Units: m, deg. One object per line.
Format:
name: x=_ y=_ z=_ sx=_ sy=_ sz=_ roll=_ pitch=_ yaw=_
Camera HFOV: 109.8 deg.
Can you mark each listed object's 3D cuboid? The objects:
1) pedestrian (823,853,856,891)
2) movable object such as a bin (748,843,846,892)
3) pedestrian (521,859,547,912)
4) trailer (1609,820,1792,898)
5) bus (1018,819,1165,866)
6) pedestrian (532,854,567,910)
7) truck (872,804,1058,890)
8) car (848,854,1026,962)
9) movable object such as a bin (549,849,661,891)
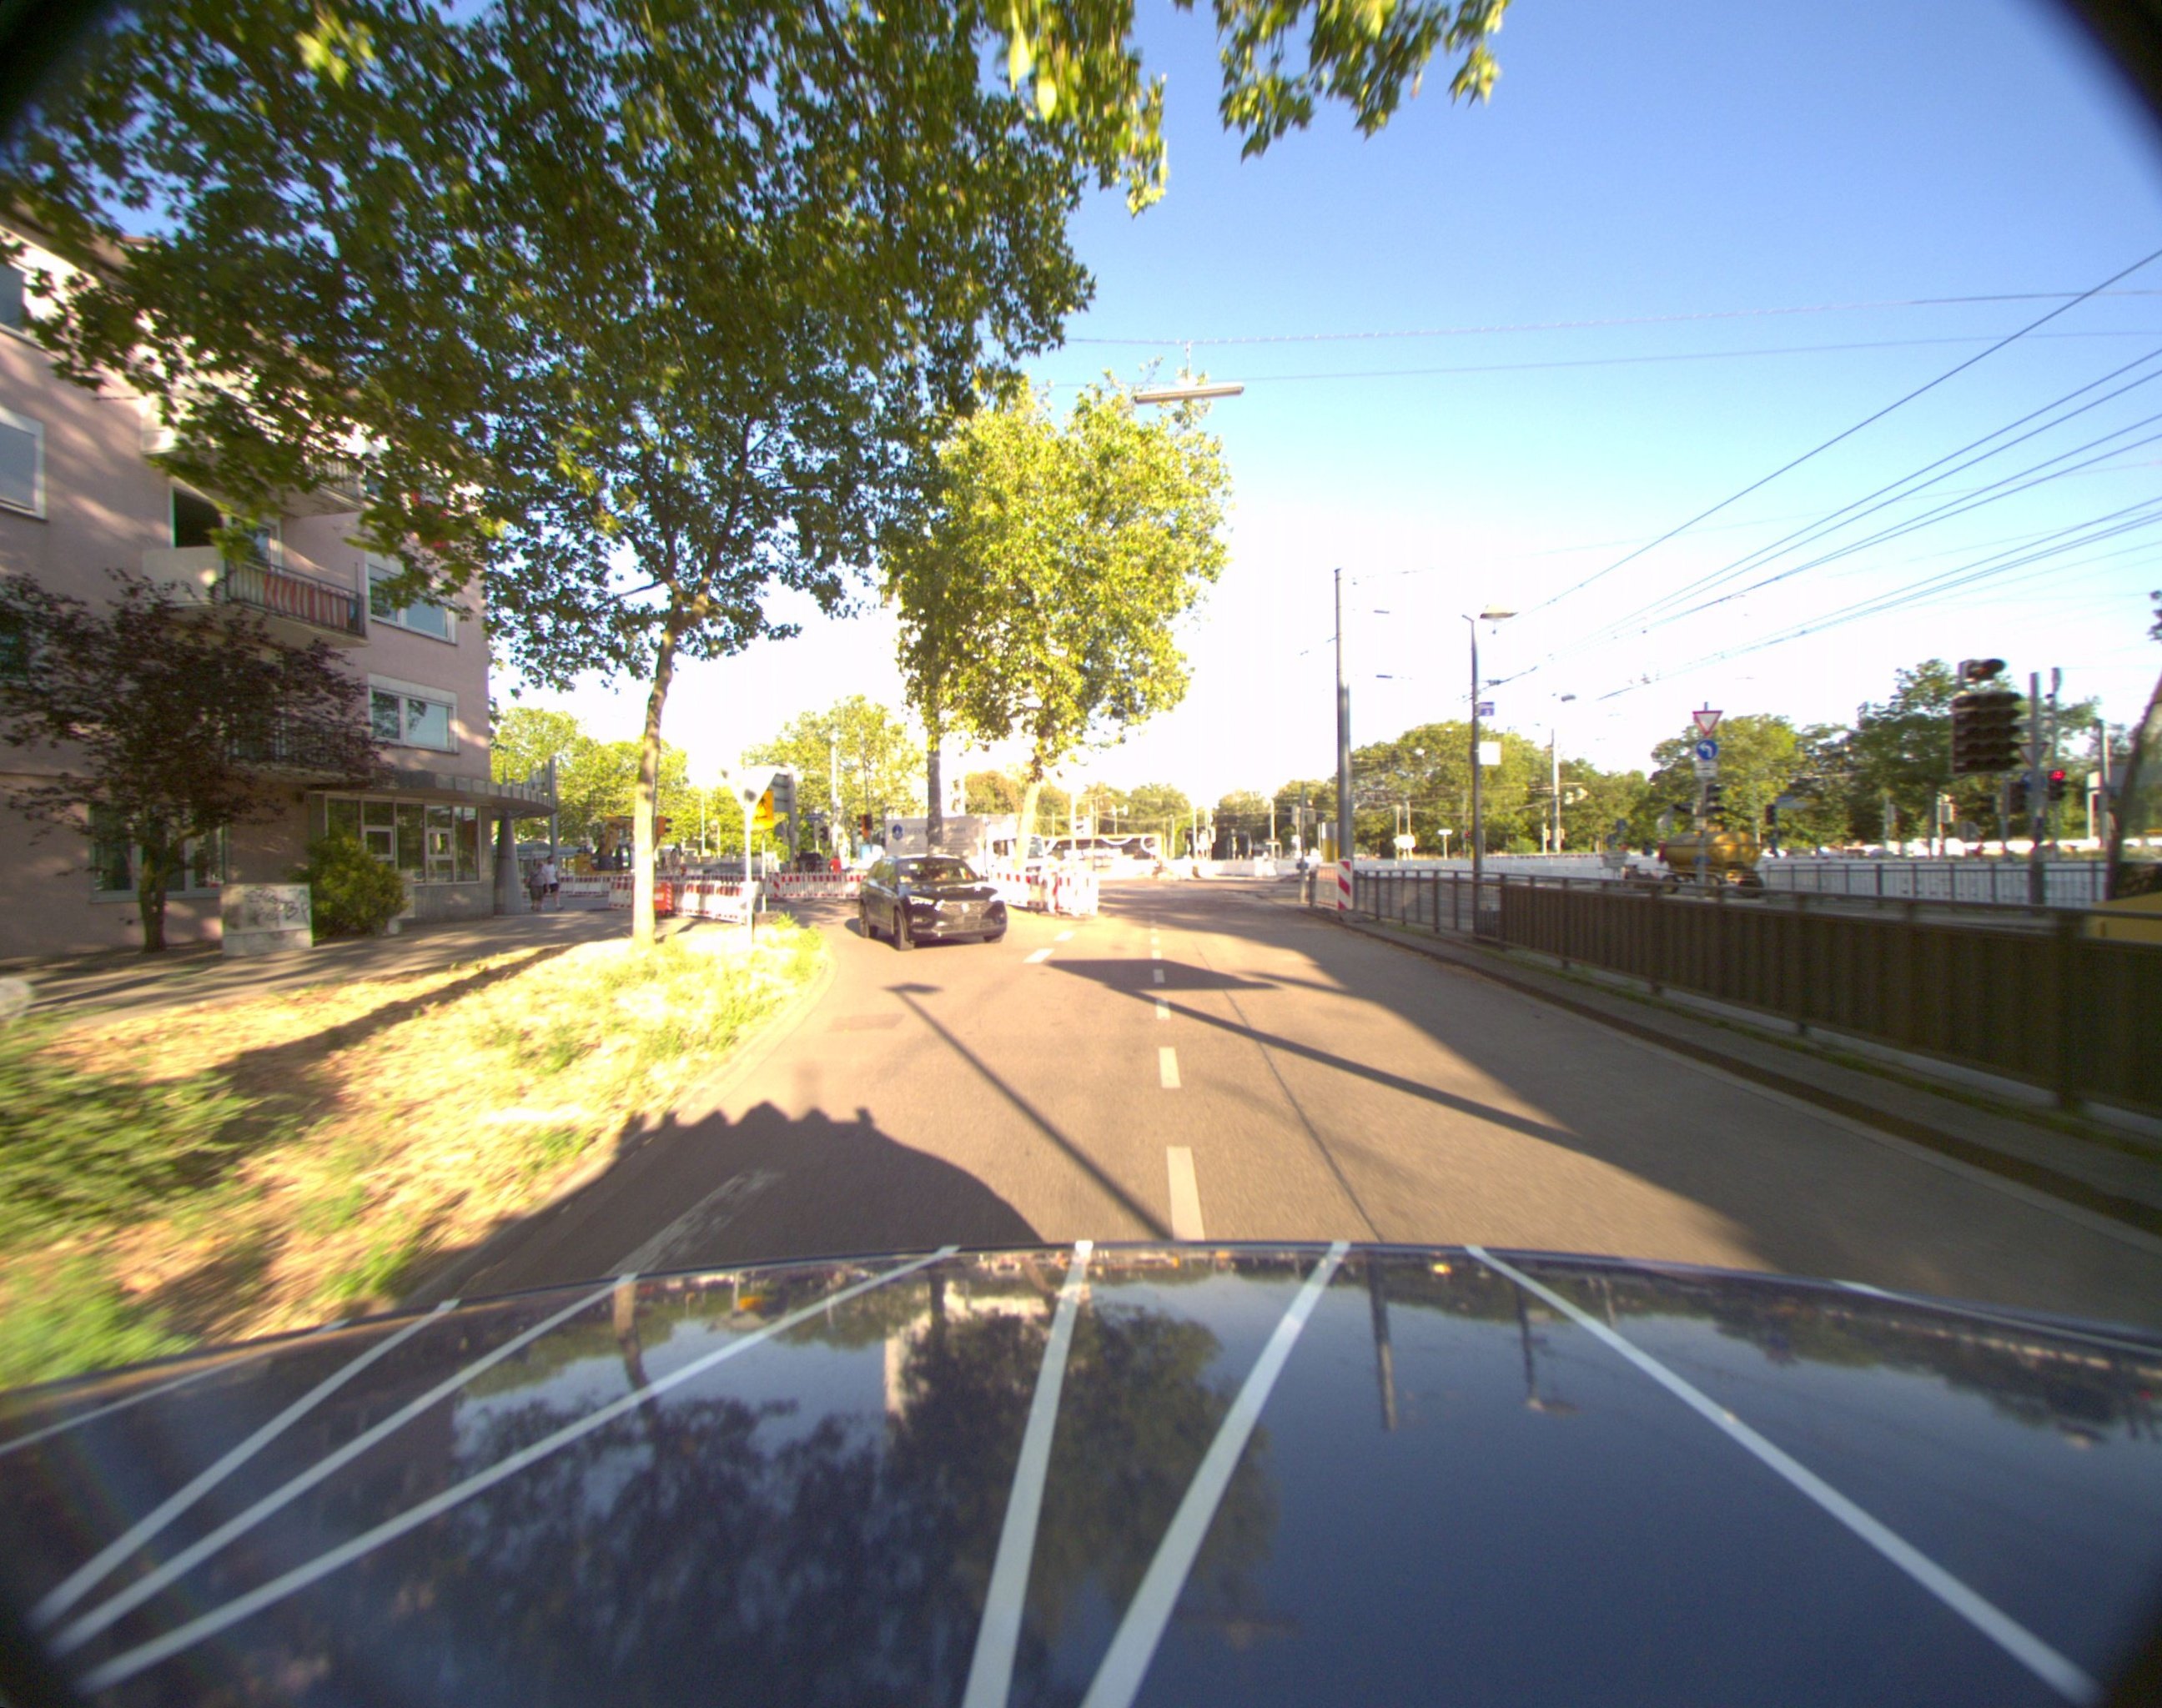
pedestrian: x=-11.560 y=0.848 z=36.378 sx=1.067 sy=1.788 sz=0.977 roll=-1 pitch=1 yaw=27
movable object such as a bin: x=-14.306 y=0.678 z=38.093 sx=5.193 sy=2.244 sz=2.004 roll=-1 pitch=2 yaw=37
pedestrian: x=-17.851 y=1.014 z=24.803 sx=0.585 sy=1.697 sz=0.678 roll=0 pitch=-2 yaw=-27
trailer: x=18.643 y=0.106 z=23.183 sx=1.999 sy=2.103 sz=4.345 roll=-1 pitch=1 yaw=-1
bus: x=0.958 y=-0.940 z=64.966 sx=12.286 sy=3.701 sz=3.089 roll=-1 pitch=1 yaw=6
pedestrian: x=-18.056 y=0.964 z=25.817 sx=0.842 sy=1.858 sz=1.096 roll=3 pitch=-3 yaw=-38
truck: x=-5.520 y=-0.223 z=34.918 sx=8.958 sy=3.521 sz=2.827 roll=-1 pitch=1 yaw=36
car: x=-2.851 y=0.891 z=14.198 sx=2.003 sy=1.637 sz=4.195 roll=-2 pitch=0 yaw=-29
movable object such as a bin: x=-28.062 y=0.927 z=44.926 sx=4.897 sy=2.304 sz=2.652 roll=-2 pitch=1 yaw=4
